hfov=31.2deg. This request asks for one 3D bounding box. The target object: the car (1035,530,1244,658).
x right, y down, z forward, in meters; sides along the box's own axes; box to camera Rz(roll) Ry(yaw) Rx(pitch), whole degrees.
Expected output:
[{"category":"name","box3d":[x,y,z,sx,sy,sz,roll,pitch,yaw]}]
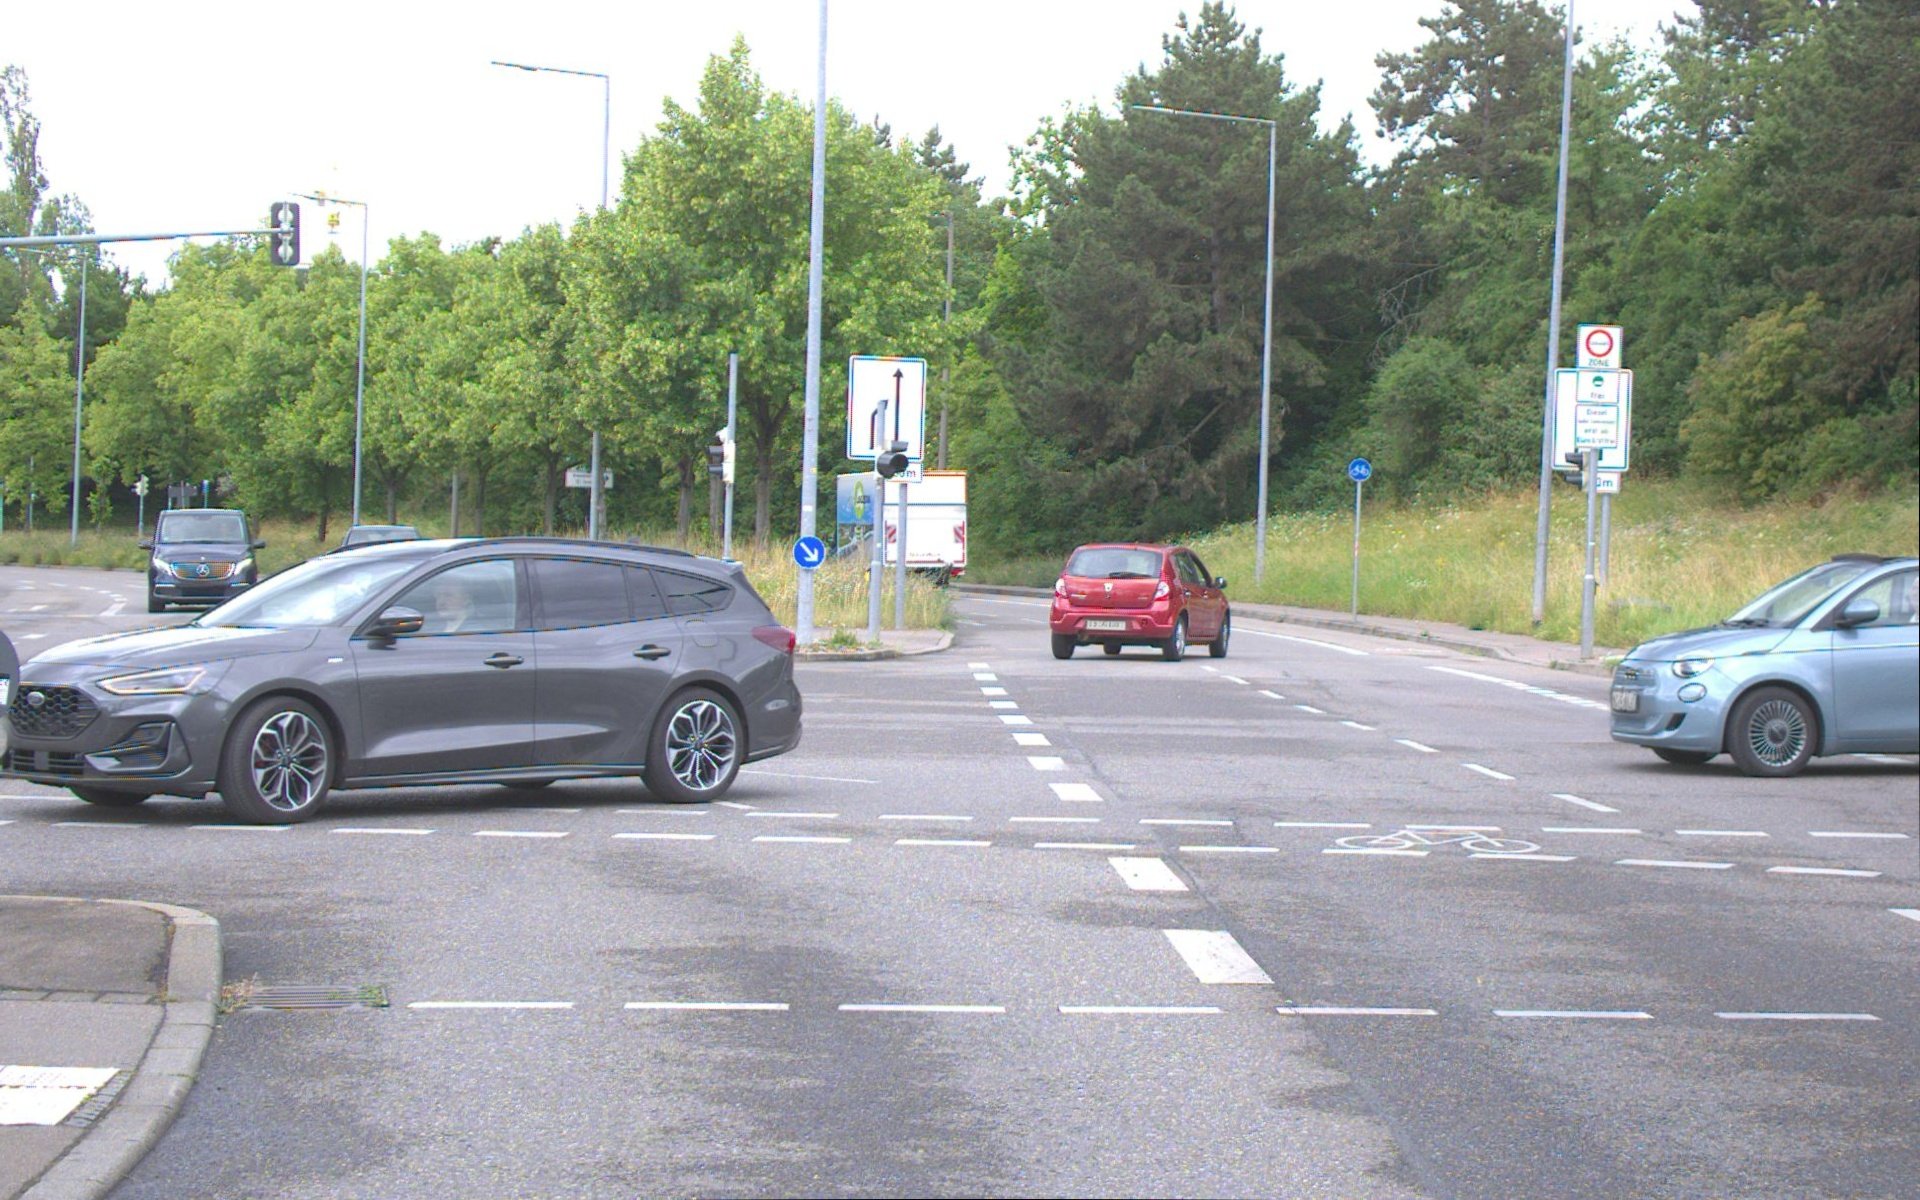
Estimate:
[{"category":"car","box3d":[2.429,-0.089,45.632,1.786,1.598,3.884,1,1,18]}]

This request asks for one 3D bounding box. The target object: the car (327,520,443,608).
[{"category":"car","box3d":[-10.254,-0.647,61.463,1.735,1.503,3.661,1,1,-5]}]

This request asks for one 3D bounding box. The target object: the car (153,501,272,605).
[{"category":"car","box3d":[-13.607,-0.871,62.793,1.887,1.806,5.094,0,1,-10]}]

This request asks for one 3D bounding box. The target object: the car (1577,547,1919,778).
[{"category":"car","box3d":[6.302,0.421,23.862,3.588,1.523,1.762,1,0,-8]}]

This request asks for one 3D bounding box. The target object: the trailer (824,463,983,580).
[{"category":"trailer","box3d":[-1.566,-2.064,91.961,2.745,3.002,6.089,1,1,-16]}]

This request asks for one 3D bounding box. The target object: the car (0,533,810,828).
[{"category":"car","box3d":[-3.116,0.381,18.733,4.420,1.419,1.875,0,1,-43]}]
